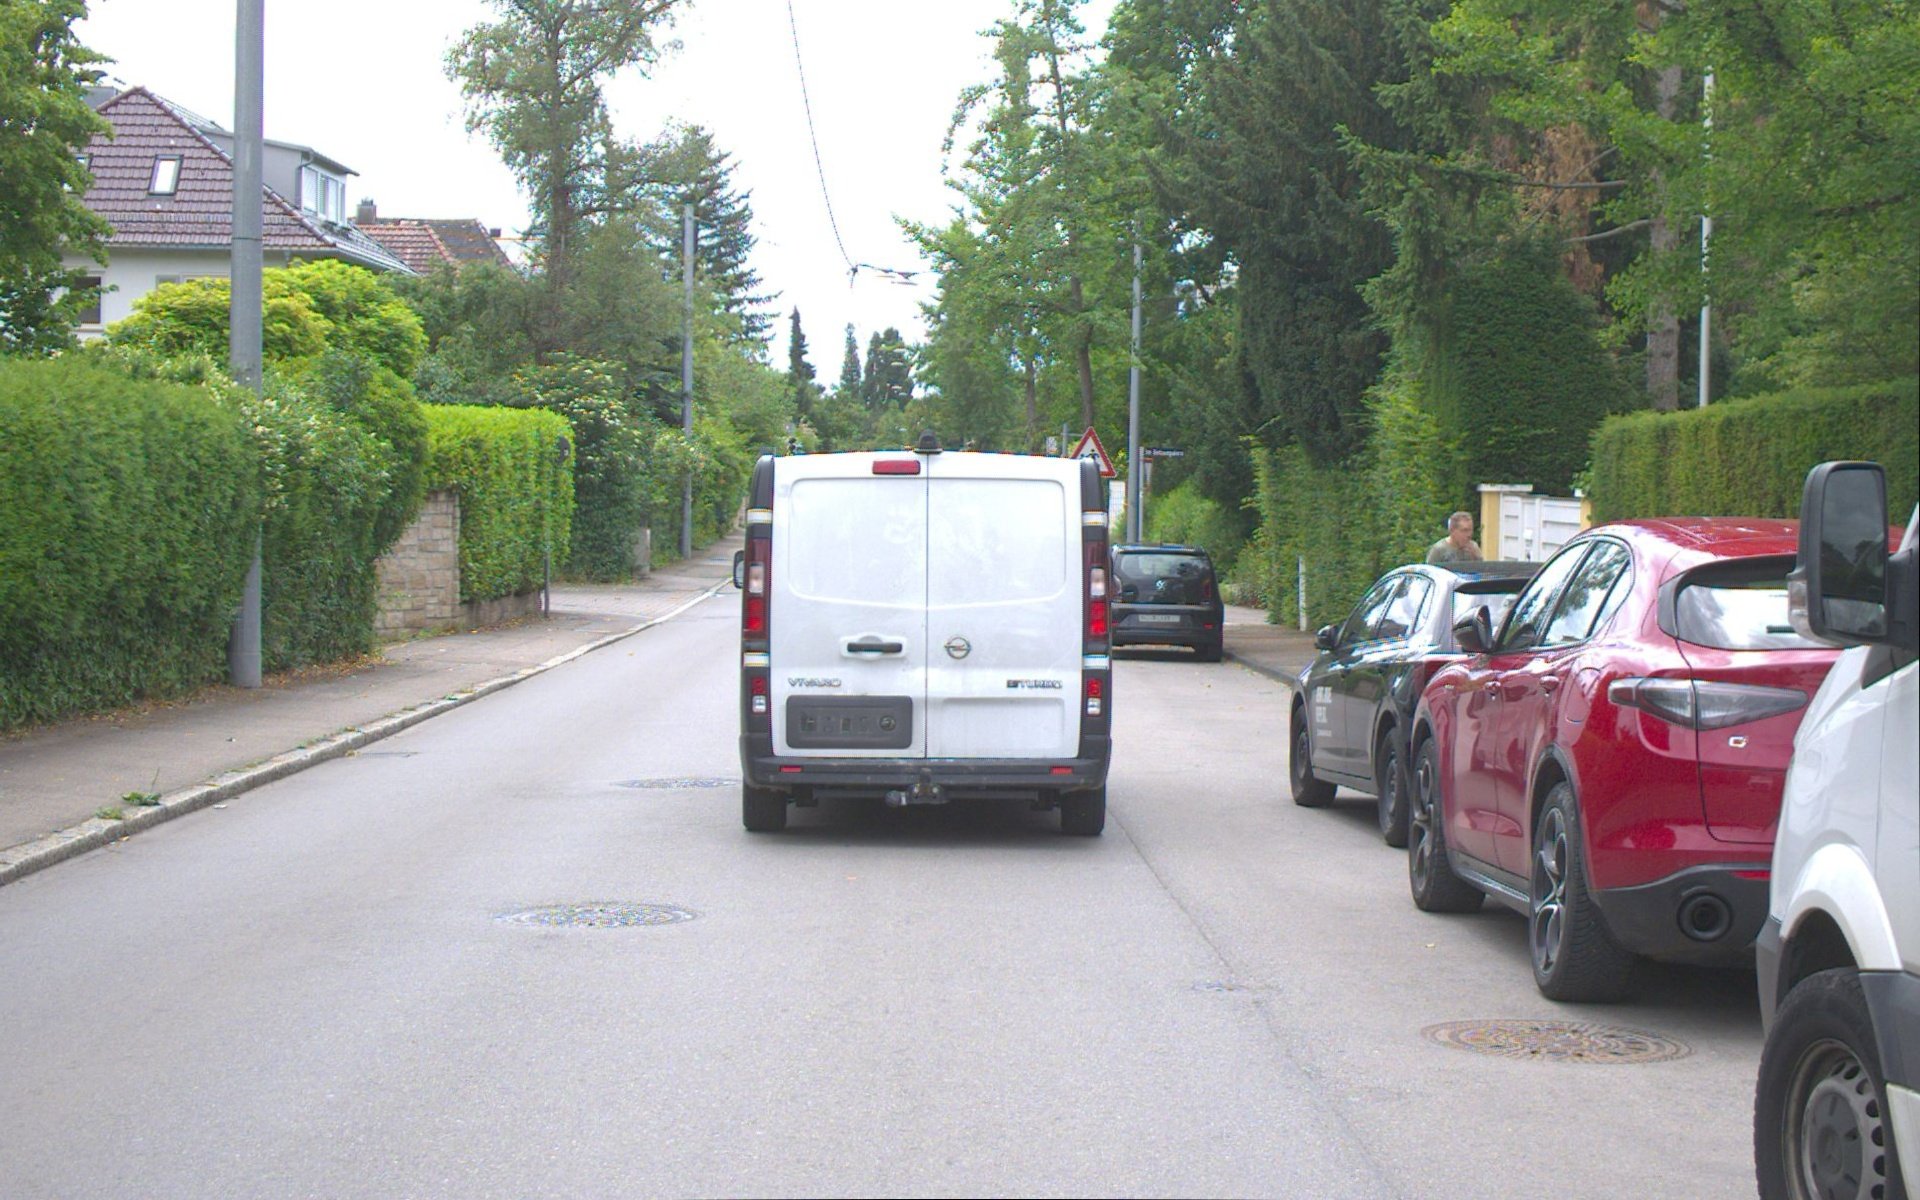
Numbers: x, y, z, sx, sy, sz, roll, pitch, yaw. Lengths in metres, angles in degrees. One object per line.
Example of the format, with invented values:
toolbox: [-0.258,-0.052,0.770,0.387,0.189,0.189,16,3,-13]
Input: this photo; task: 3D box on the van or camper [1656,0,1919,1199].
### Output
van or camper: [2.756,0.190,4.012,2.041,2.611,7.040,2,1,-3]

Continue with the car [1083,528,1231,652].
car: [2.528,-0.162,44.753,1.623,1.468,3.741,1,2,-1]

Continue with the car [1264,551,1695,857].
car: [2.671,0.471,18.515,1.679,1.402,4.054,-1,1,0]

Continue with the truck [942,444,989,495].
truck: [0.264,-6.667,175.010,2.187,2.463,7.432,2,3,-1]

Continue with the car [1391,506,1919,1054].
car: [2.813,0.462,12.383,1.888,1.575,4.766,-1,1,0]

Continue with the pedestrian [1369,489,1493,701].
pedestrian: [3.837,-0.052,28.060,0.669,1.692,0.918,-1,2,-18]

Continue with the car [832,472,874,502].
car: [-5.402,-5.743,174.337,1.805,1.426,4.301,-2,3,2]

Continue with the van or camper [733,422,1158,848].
van or camper: [-0.131,0.108,18.566,1.939,1.947,4.766,2,1,-2]
